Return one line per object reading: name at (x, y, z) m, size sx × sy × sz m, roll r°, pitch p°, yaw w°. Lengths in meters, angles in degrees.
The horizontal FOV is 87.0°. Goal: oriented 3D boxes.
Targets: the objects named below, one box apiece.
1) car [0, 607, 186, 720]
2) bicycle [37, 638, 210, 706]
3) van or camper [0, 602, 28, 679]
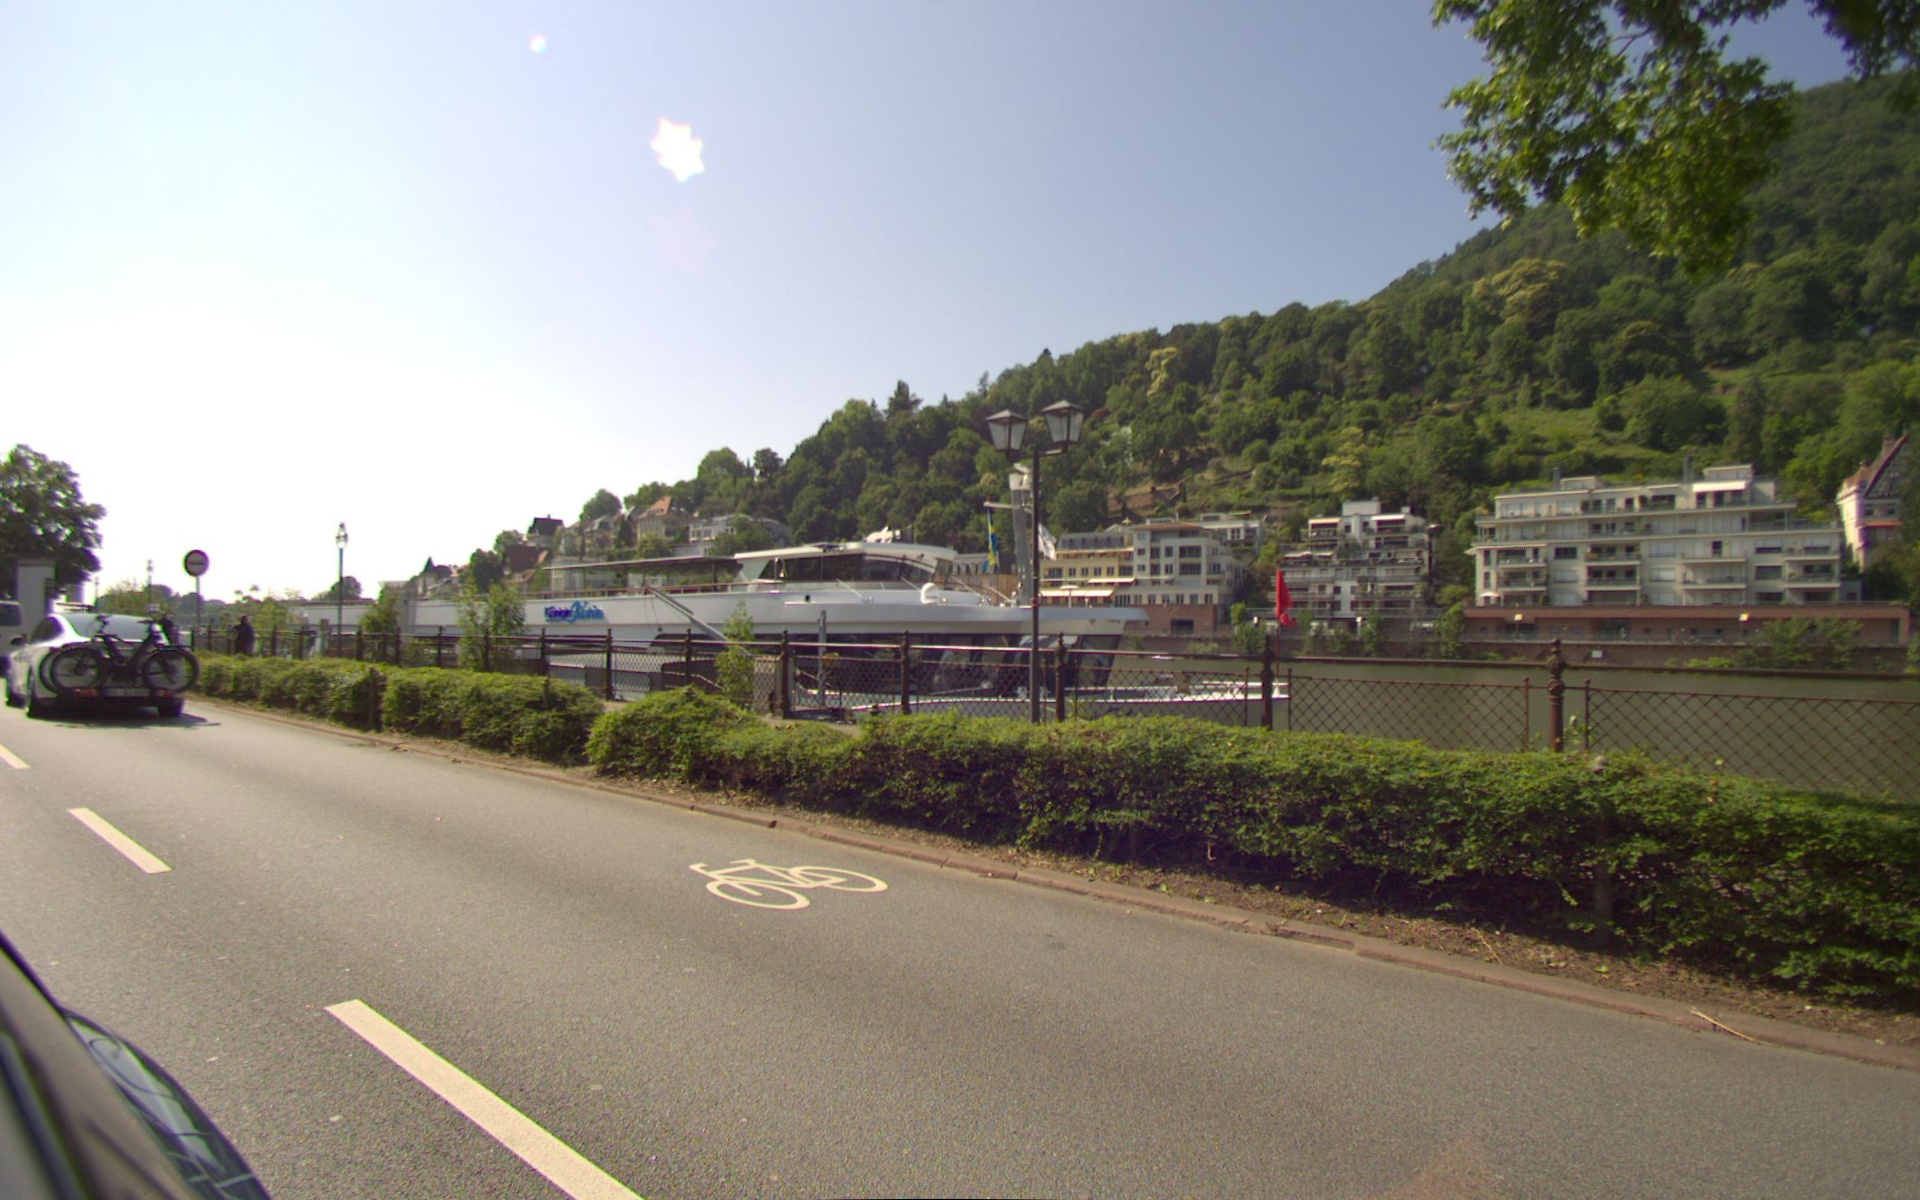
car at (-14.356, 0.991, 16.634) m, size 3.958 × 1.625 × 1.802 m, roll -1°, pitch -4°, yaw 41°
bicycle at (-12.447, 1.055, 15.098) m, size 0.955 × 0.933 × 1.848 m, roll -1°, pitch -4°, yaw 42°
van or camper at (-26.831, 1.053, 27.407) m, size 3.999 × 2.002 × 1.897 m, roll -1°, pitch -4°, yaw 42°
